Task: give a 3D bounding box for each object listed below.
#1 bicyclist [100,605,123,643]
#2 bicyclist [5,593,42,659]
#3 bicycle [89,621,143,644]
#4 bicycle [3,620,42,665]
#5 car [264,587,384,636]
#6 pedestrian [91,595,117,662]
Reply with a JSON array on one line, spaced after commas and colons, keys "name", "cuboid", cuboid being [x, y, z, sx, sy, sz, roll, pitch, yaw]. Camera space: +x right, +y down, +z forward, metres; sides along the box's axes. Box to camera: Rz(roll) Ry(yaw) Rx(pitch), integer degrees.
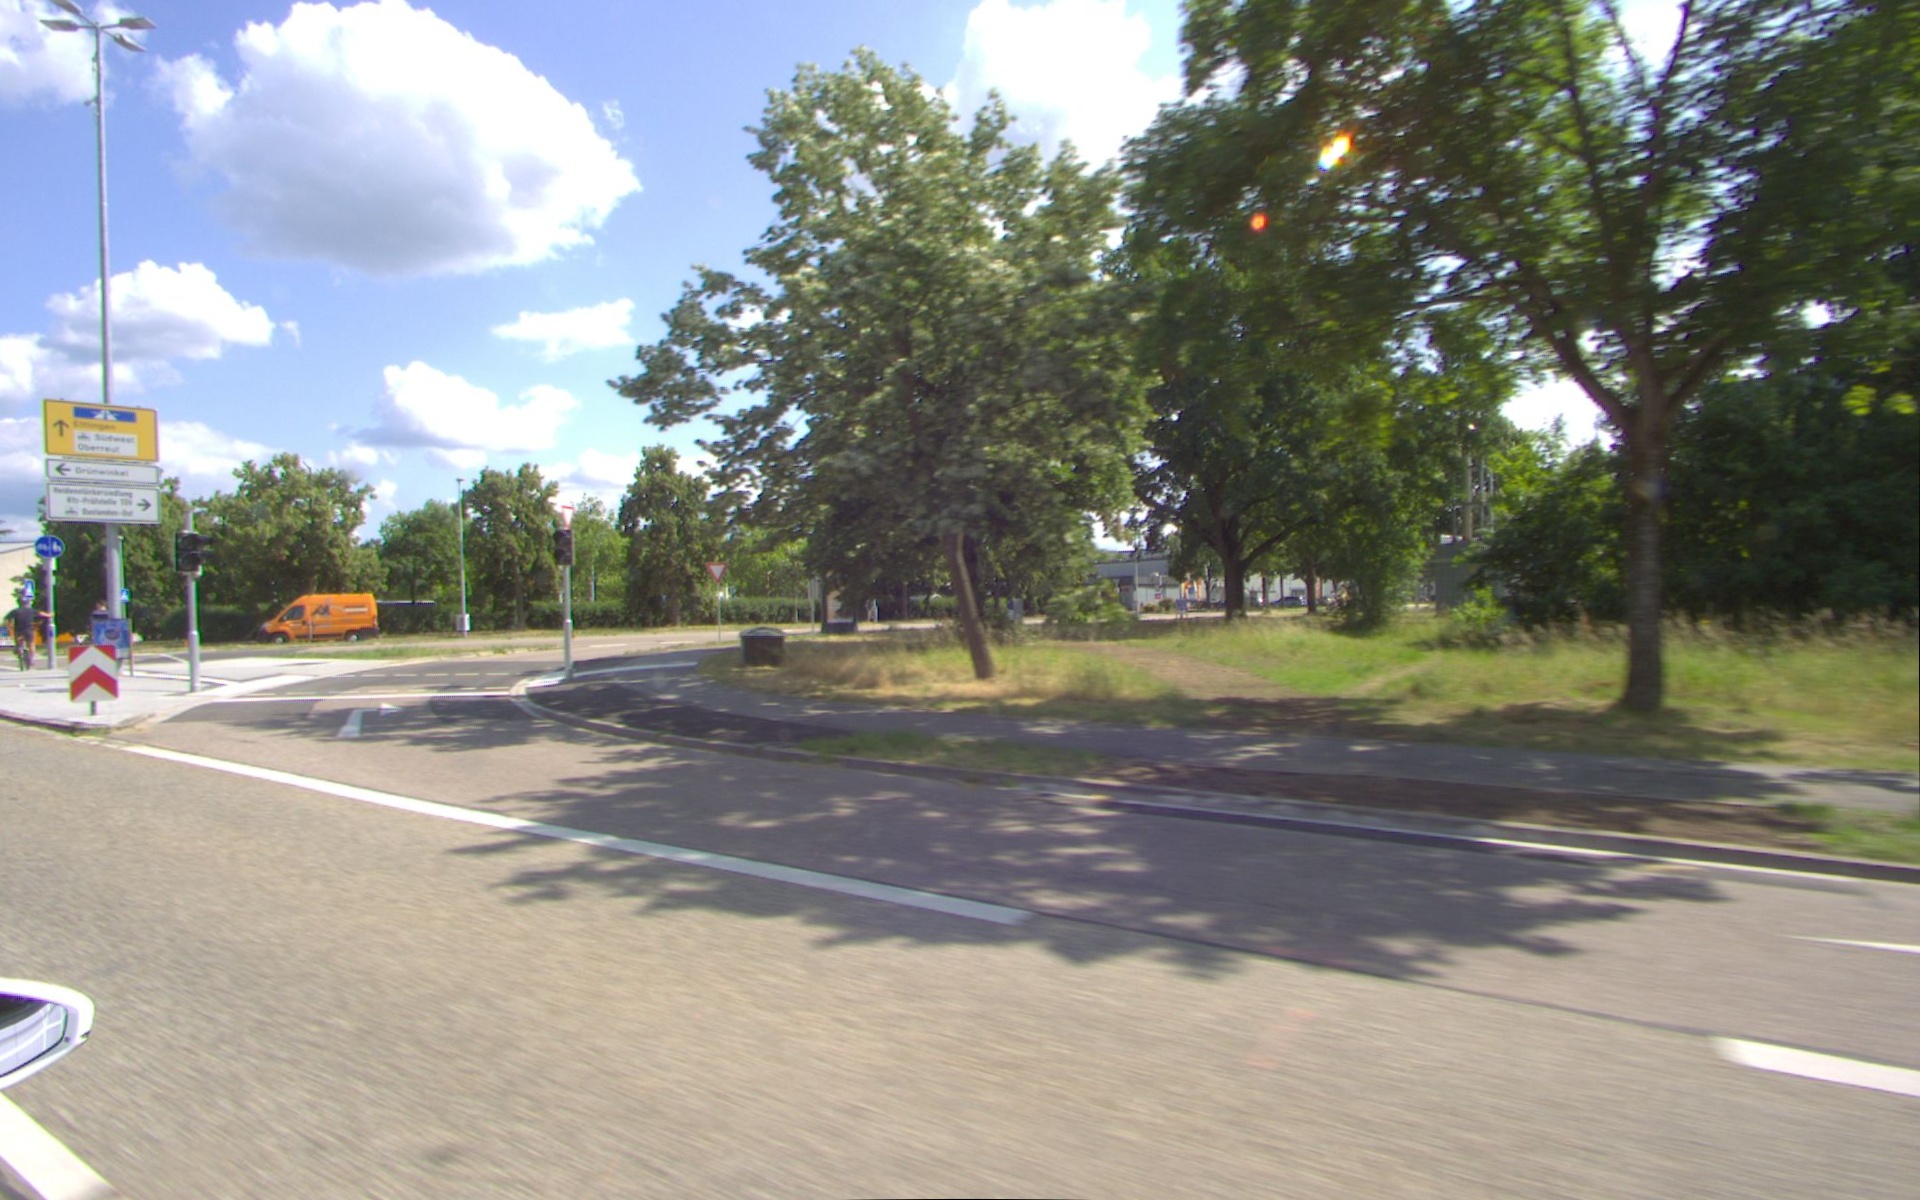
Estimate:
[{"name": "bicyclist", "cuboid": [-41.579, 1.171, 49.068, 0.679, 1.828, 0.782, -1, 0, 45]}, {"name": "bicyclist", "cuboid": [-24.036, 0.676, 25.704, 0.643, 1.682, 0.644, 1, -2, -42]}, {"name": "bicycle", "cuboid": [-41.445, 1.586, 49.198, 0.679, 1.108, 1.985, -1, -1, 44]}, {"name": "bicycle", "cuboid": [-24.164, 1.099, 25.838, 0.643, 1.121, 1.911, 1, -3, -41]}, {"name": "car", "cuboid": [-30.850, 0.634, 48.778, 4.790, 2.254, 2.202, 1, -2, -29]}, {"name": "pedestrian", "cuboid": [-23.172, 0.777, 27.102, 0.477, 1.801, 0.462, -2, -2, 44]}]
